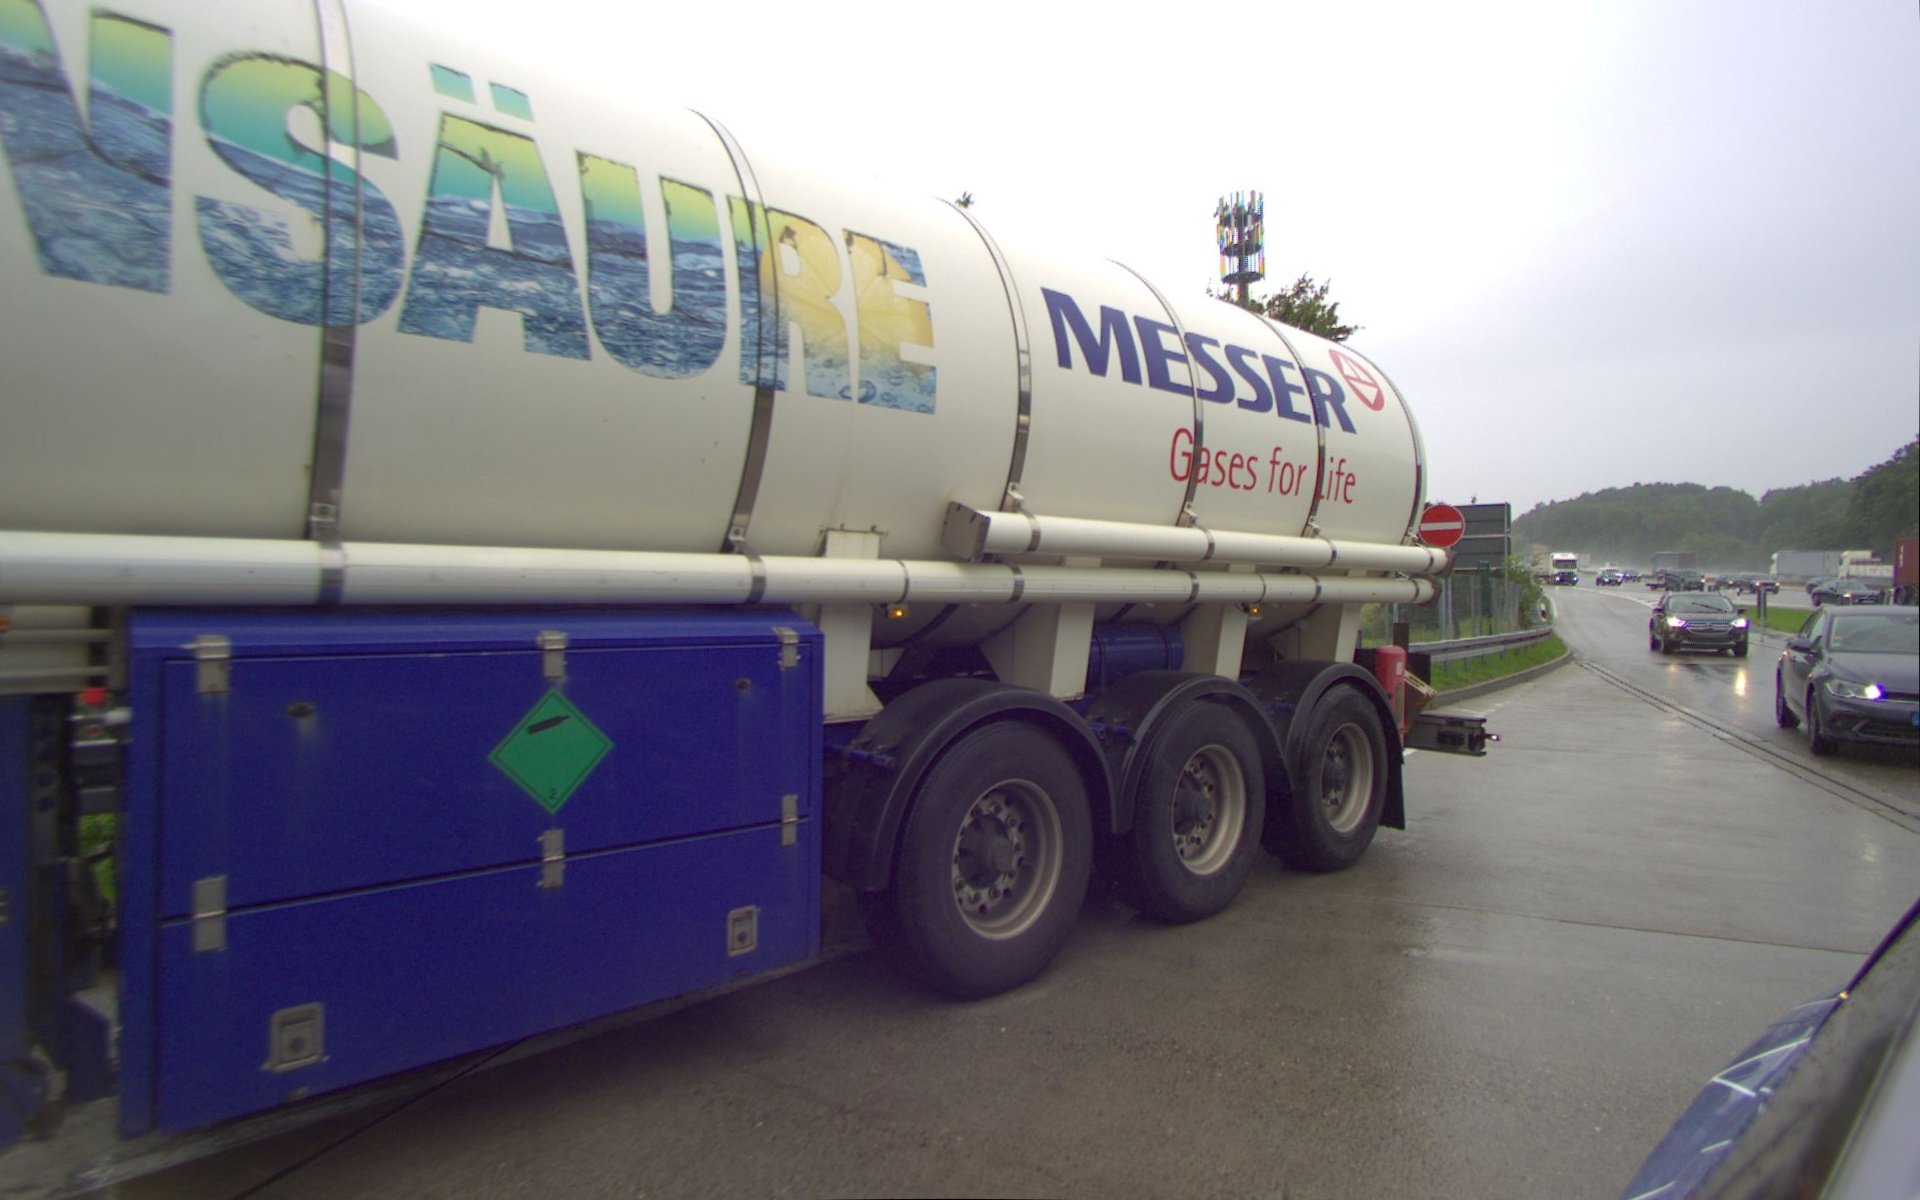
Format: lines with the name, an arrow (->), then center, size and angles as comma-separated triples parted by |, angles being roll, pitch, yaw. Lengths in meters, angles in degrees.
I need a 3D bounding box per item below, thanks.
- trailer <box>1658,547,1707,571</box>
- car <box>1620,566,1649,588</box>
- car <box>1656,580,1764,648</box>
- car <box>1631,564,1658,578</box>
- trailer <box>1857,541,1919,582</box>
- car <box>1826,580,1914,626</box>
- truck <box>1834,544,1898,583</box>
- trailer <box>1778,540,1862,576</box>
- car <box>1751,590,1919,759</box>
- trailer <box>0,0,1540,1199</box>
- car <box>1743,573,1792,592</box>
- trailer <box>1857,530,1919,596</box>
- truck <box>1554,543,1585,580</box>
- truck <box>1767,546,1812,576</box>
trailer -> 125.703, -7.015, 176.404 | 2.997, 3.859, 13.331 | -2, 0, 18
car -> 76.779, -2.637, 115.195 | 1.897, 2.038, 3.971 | -6, 1, 24
car -> 19.990, 0.333, 27.123 | 1.796, 1.560, 3.958 | -4, 0, 31
car -> 92.297, -3.861, 136.488 | 1.975, 1.835, 3.974 | 1, 1, 20
trailer -> 91.572, -3.719, 97.113 | 2.589, 3.727, 14.582 | -3, -1, 19
car -> 48.156, 0.124, 53.660 | 1.894, 2.038, 3.978 | -6, 1, 19
truck -> 94.397, -3.742, 105.511 | 2.596, 3.717, 5.955 | -3, -1, 19
trailer -> 105.526, -5.068, 124.500 | 2.697, 3.584, 13.970 | -4, -2, 19
car -> 9.701, 0.642, 10.513 | 1.656, 1.420, 4.219 | 1, 1, 29
trailer -> -0.637, -0.339, 4.216 | 10.139, 3.265, 1.984 | -1, 0, -40
car -> 67.732, -1.460, 84.956 | 1.764, 1.579, 4.076 | 0, 0, 17
trailer -> 52.765, -2.020, 53.474 | 2.659, 3.548, 15.026 | -3, 1, 21
truck -> 73.181, -4.646, 121.626 | 2.573, 4.197, 5.182 | -3, 0, 27
truck -> 108.064, -5.027, 131.913 | 2.687, 3.580, 4.733 | -4, -2, 18
